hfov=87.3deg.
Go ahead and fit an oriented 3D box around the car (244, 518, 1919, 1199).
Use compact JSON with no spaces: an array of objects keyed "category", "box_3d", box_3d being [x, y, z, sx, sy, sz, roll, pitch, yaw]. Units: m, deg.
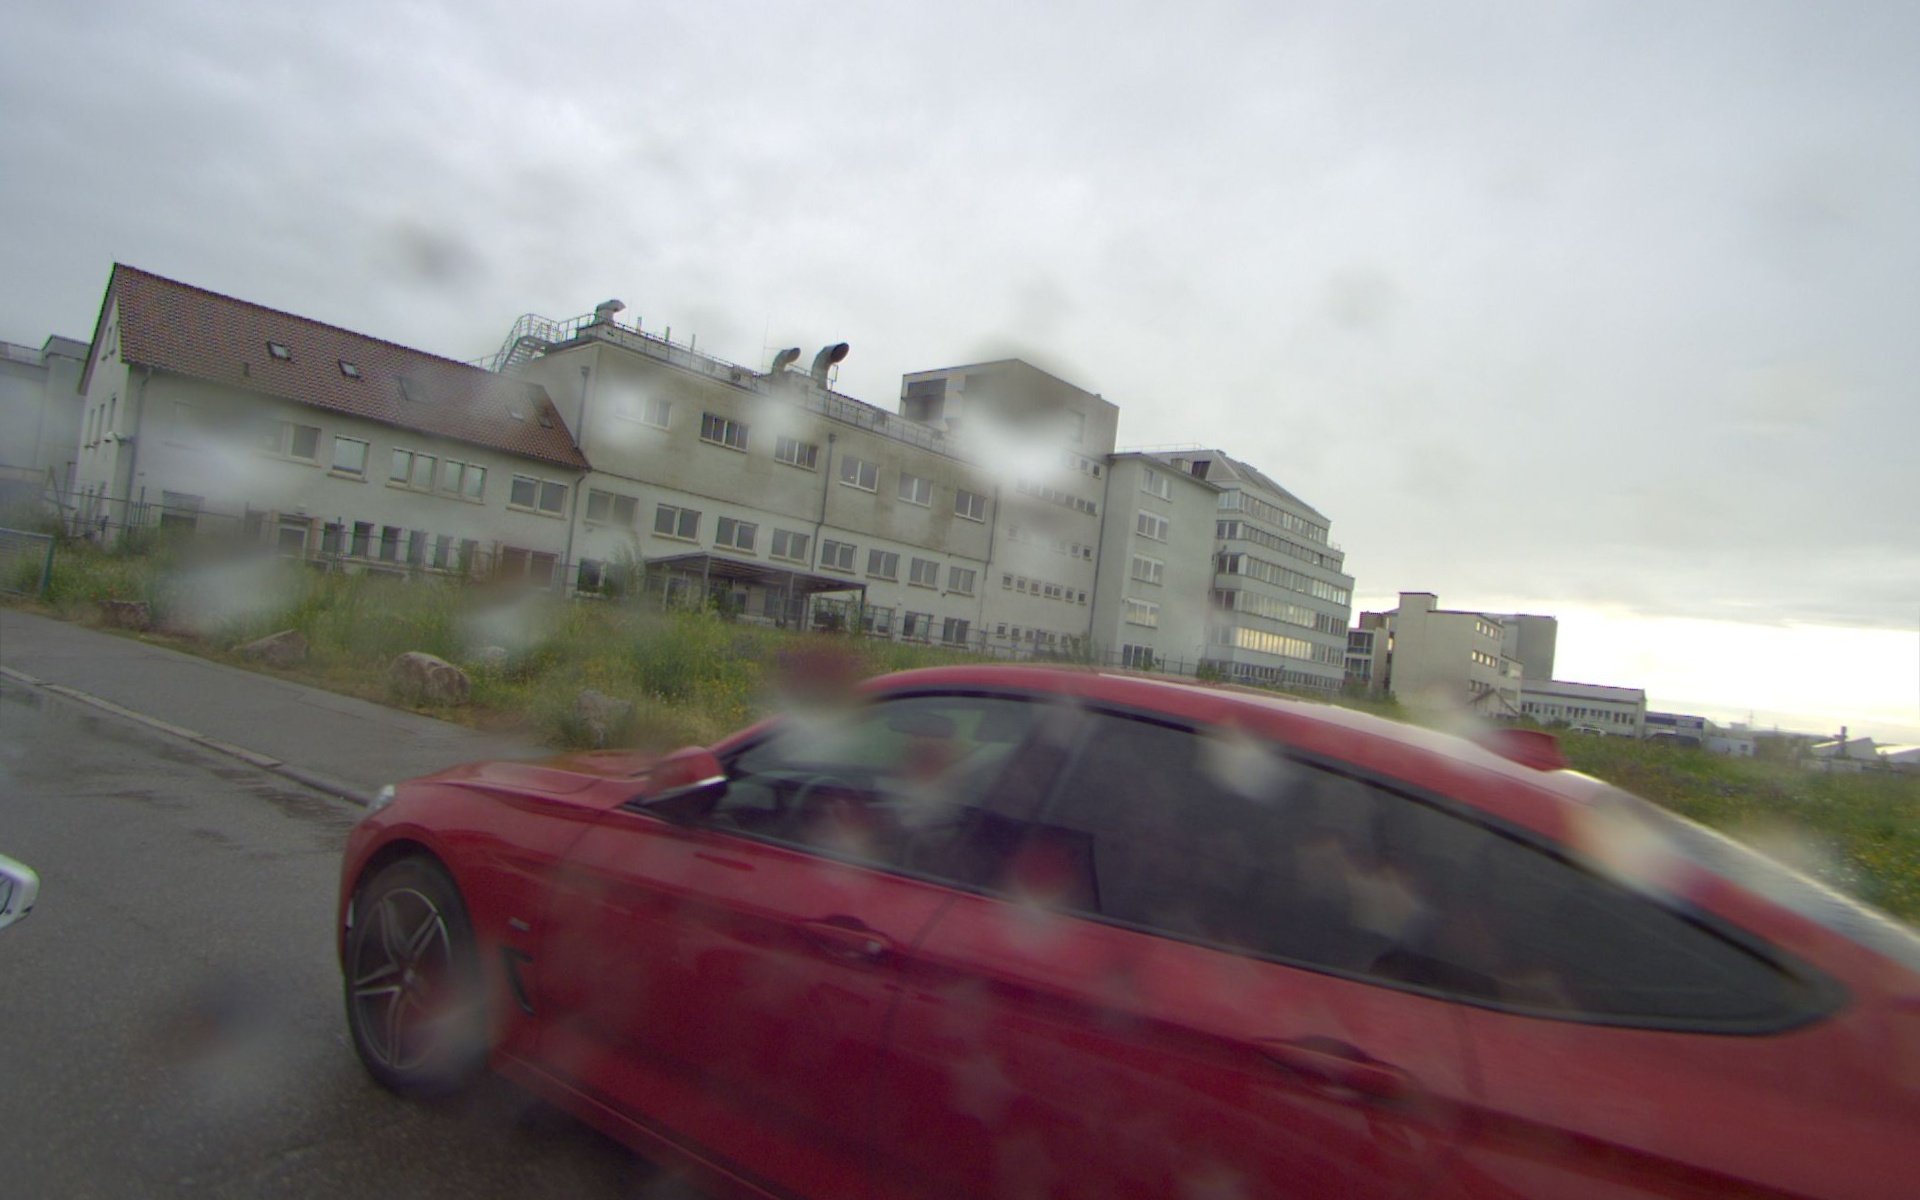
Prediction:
[{"category":"car","box_3d":[0.074,0.837,2.810,4.568,1.592,1.646,7,-3,33]}]
